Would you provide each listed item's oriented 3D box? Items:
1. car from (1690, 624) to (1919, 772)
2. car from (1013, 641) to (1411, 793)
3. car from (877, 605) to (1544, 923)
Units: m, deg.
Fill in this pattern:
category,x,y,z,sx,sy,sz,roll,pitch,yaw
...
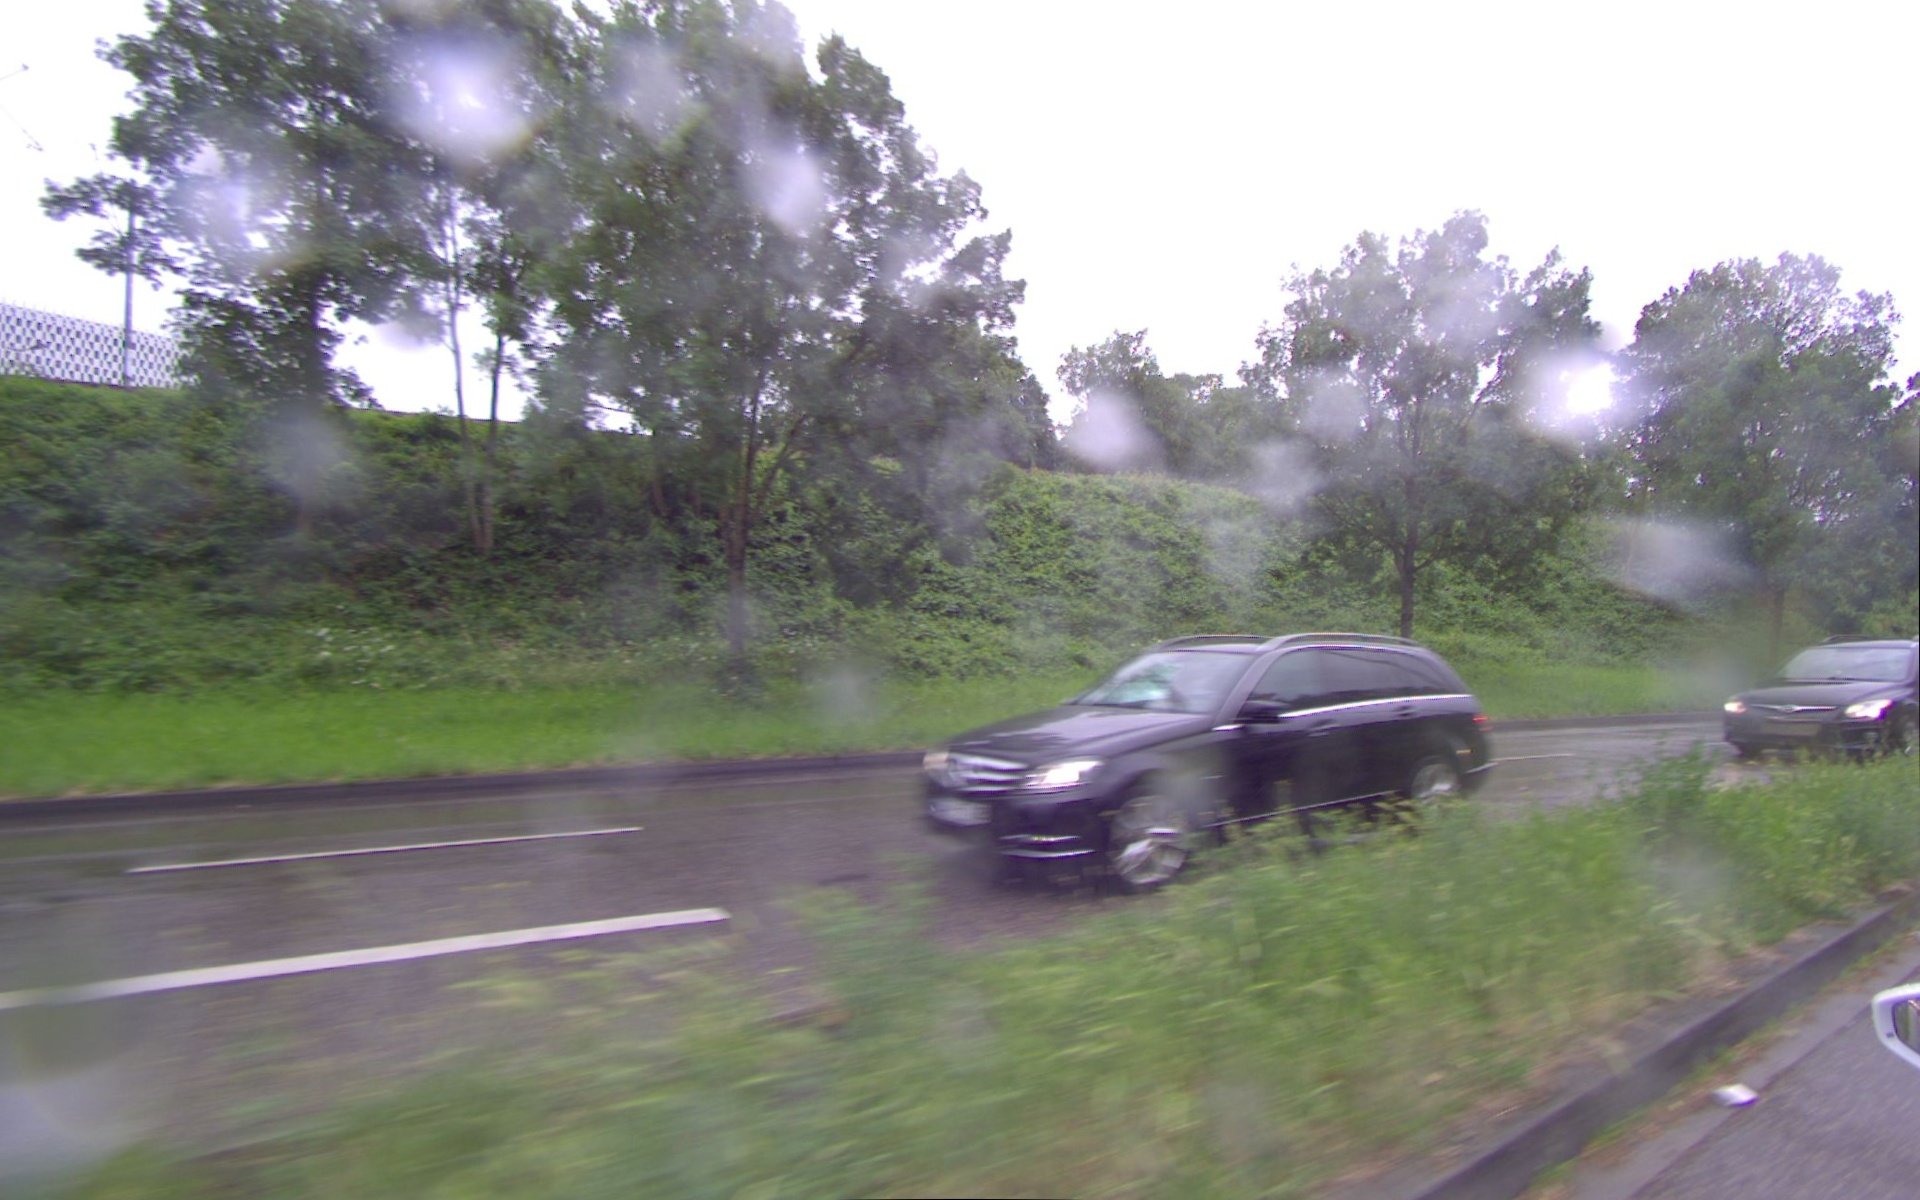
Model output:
category,x,y,z,sx,sy,sz,roll,pitch,yaw
car,11.483,1.143,12.961,4.309,1.596,1.815,1,-1,-31
car,3.148,1.337,12.477,4.646,1.594,1.903,1,-4,-26
car,1.905,0.929,7.127,4.656,1.594,1.899,2,-4,-32
